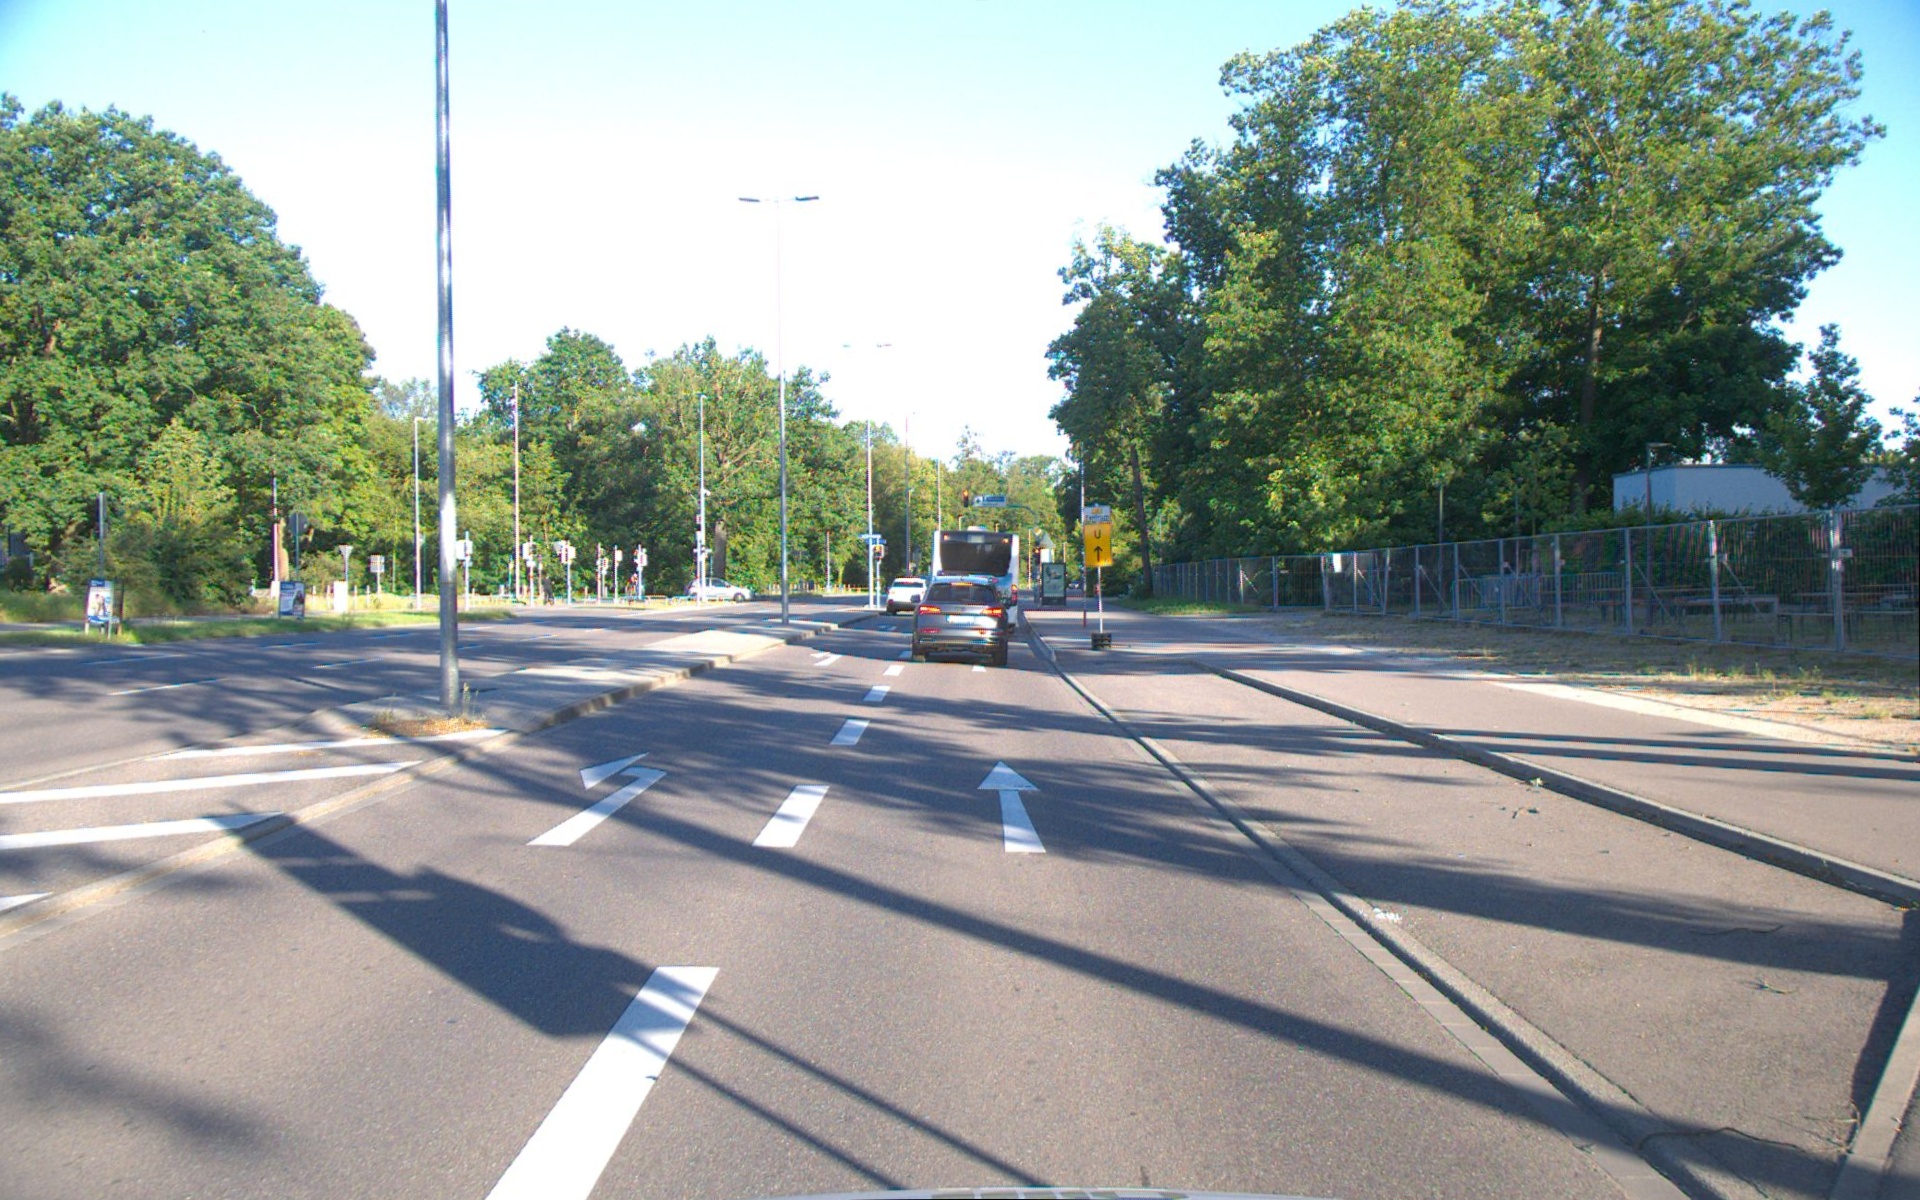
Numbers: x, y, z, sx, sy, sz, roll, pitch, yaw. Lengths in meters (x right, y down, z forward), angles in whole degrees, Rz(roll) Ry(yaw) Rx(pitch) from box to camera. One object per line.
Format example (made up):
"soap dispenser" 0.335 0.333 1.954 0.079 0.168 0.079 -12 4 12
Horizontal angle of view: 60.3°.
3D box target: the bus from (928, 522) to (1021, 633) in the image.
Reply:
"bus" 0.503 -0.650 50.722 2.541 3.041 9.328 1 0 1

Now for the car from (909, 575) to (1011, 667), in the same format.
"car" 0.045 0.365 32.791 1.859 1.660 4.001 1 1 1

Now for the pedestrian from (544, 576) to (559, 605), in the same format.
"pedestrian" -22.214 -0.533 89.900 0.643 1.587 0.531 -1 1 -41

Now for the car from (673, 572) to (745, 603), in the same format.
"car" -14.523 -0.724 95.638 3.923 1.668 2.056 -1 1 -16

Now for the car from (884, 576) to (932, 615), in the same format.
"car" -2.143 -0.203 68.860 1.798 1.545 4.001 0 1 1

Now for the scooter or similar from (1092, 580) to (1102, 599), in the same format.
"scooter or similar" 10.560 -0.825 127.609 0.498 1.469 2.021 -1 1 -4

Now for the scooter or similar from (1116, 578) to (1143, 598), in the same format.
"scooter or similar" 12.825 -0.943 125.179 1.989 1.469 0.601 -1 1 -24
